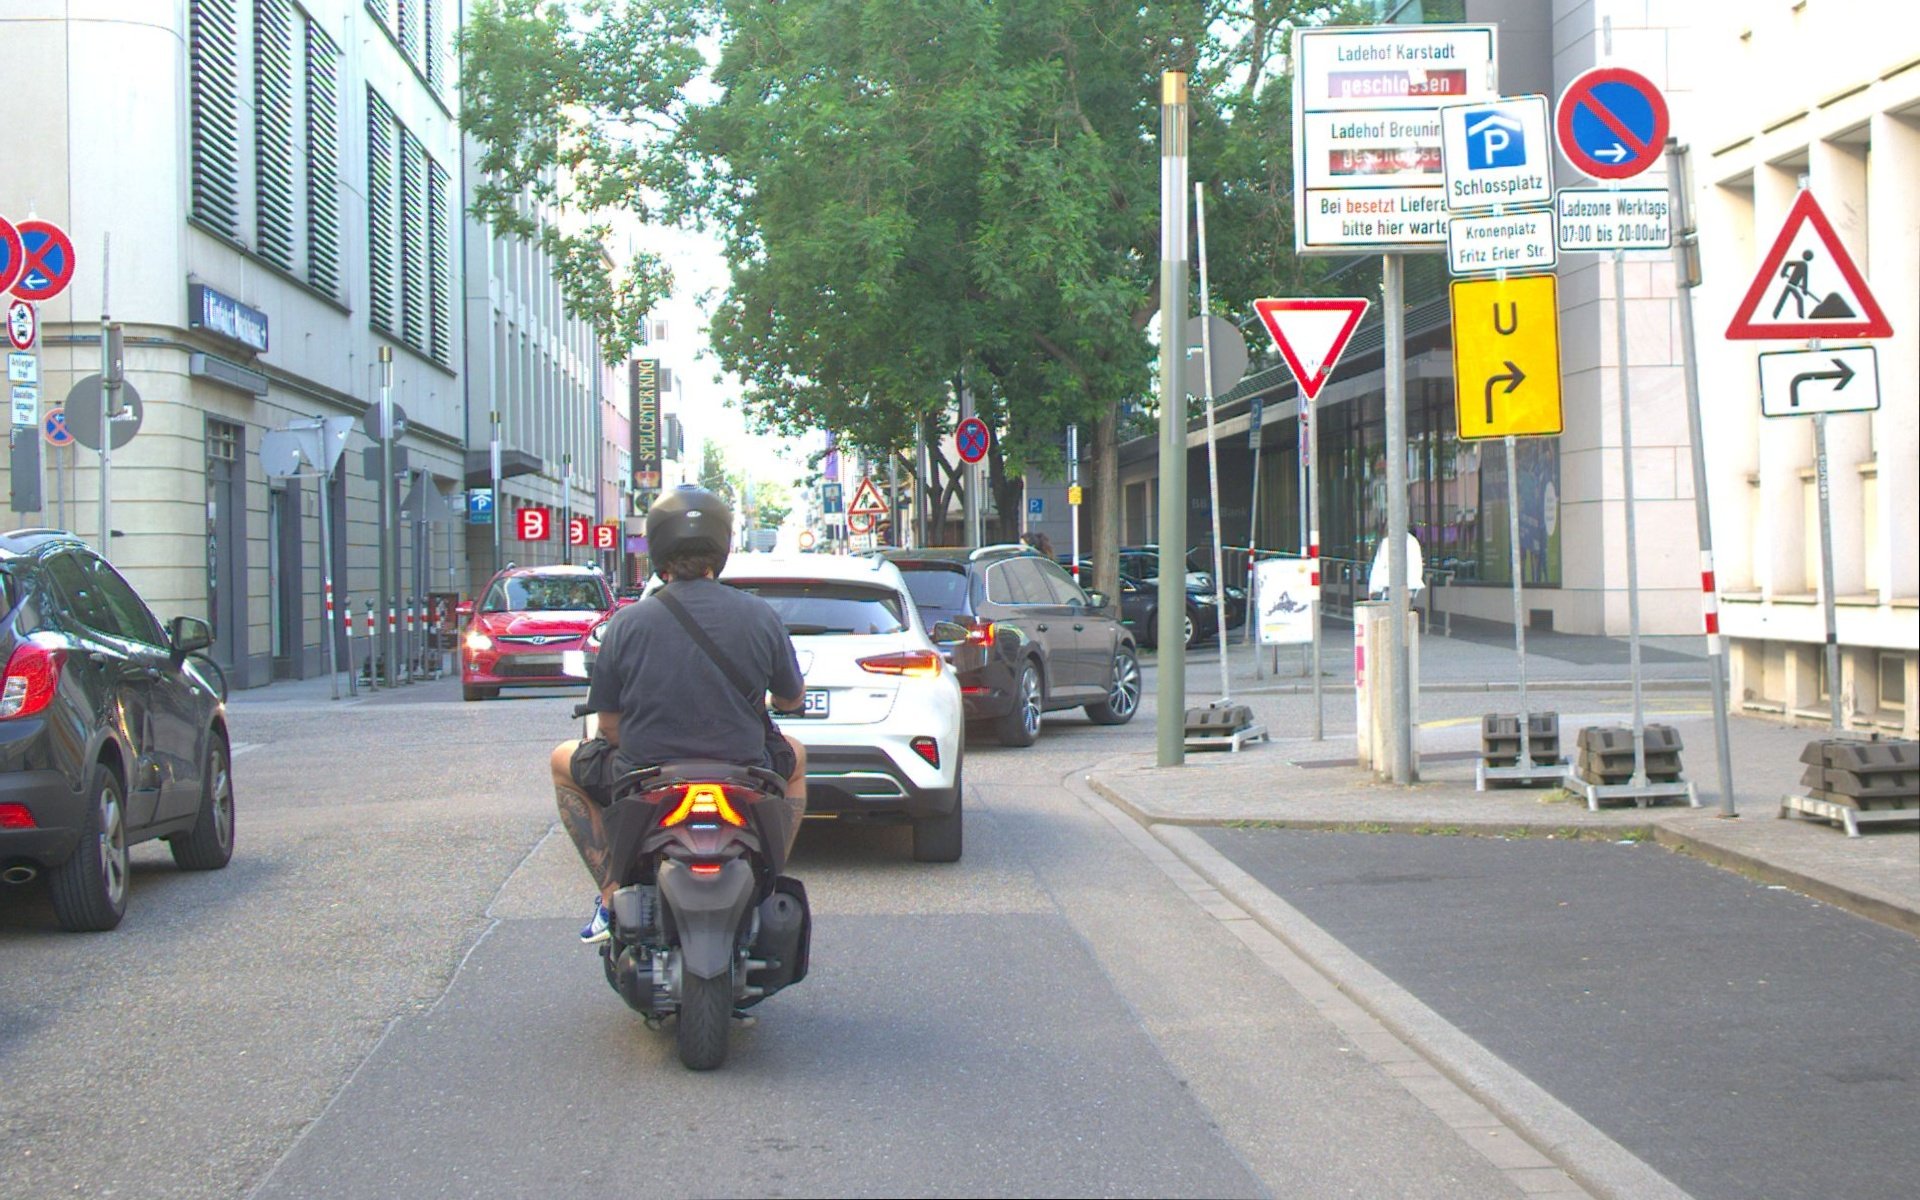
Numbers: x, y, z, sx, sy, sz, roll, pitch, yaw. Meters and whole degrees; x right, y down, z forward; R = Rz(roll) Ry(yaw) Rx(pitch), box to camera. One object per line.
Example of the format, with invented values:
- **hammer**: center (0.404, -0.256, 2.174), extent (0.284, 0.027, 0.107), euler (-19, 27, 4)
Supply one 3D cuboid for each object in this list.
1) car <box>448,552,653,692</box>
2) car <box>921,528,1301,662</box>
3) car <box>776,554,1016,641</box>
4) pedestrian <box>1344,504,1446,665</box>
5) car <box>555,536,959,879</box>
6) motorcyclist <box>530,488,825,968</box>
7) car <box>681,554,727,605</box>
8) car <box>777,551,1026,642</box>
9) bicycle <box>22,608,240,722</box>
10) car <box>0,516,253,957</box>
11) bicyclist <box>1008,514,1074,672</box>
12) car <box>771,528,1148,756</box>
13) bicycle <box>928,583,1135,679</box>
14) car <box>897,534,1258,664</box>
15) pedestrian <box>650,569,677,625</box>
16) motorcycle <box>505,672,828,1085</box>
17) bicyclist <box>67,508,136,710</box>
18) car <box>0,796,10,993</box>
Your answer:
- **car**: center (-4.536, 0.272, 38.622), extent (1.822, 1.460, 4.263), euler (-1, -1, 0)
- **car**: center (2.072, -0.070, 48.123), extent (5.004, 1.447, 2.000), euler (-4, 0, -5)
- **car**: center (-1.414, -0.056, 74.798), extent (5.004, 1.494, 2.000), euler (-4, 0, -5)
- **pedestrian**: center (4.780, -0.172, 37.826), extent (0.905, 1.700, 0.834), euler (-4, 0, -1)
- **car**: center (-1.054, 0.450, 17.826), extent (1.822, 1.536, 4.264), euler (-1, 1, -3)
- **motorcyclist**: center (-0.847, 0.378, 10.426), extent (0.867, 1.422, 0.455), euler (0, 0, -1)
- **car**: center (-11.949, -0.975, 160.254), extent (1.993, 2.321, 5.022), euler (1, 1, -5)
- **car**: center (-1.257, -0.070, 72.319), extent (5.004, 1.494, 2.000), euler (-4, 0, -5)
- **bicycle**: center (-7.181, 0.551, 29.781), extent (1.814, 0.970, 0.511), euler (0, 0, -16)
- **car**: center (-4.431, 0.514, 15.197), extent (1.822, 1.672, 4.264), euler (-3, 1, -2)
- **bicyclist**: center (0.836, -0.072, 35.648), extent (0.630, 1.620, 0.498), euler (0, 0, -6)
- **car**: center (0.098, 0.255, 26.646), extent (1.824, 1.536, 4.362), euler (0, 2, 15)
- **bicycle**: center (0.736, 0.319, 35.632), extent (2.102, 0.992, 0.518), euler (0, 0, -4)
- **car**: center (1.681, -0.013, 50.533), extent (5.004, 1.494, 2.000), euler (-4, 0, -5)
- **pedestrian**: center (-8.332, -0.071, 96.660), extent (0.732, 1.568, 0.636), euler (0, 0, -2)
- **motorcycle**: center (-0.846, 0.790, 10.434), extent (0.872, 1.105, 1.840), euler (0, 0, -2)
- **bicyclist**: center (-7.421, 0.074, 29.717), extent (0.550, 1.726, 0.501), euler (0, 0, -17)
- **car**: center (-4.038, 0.618, 9.660), extent (1.739, 1.589, 4.154), euler (-3, 1, -3)
